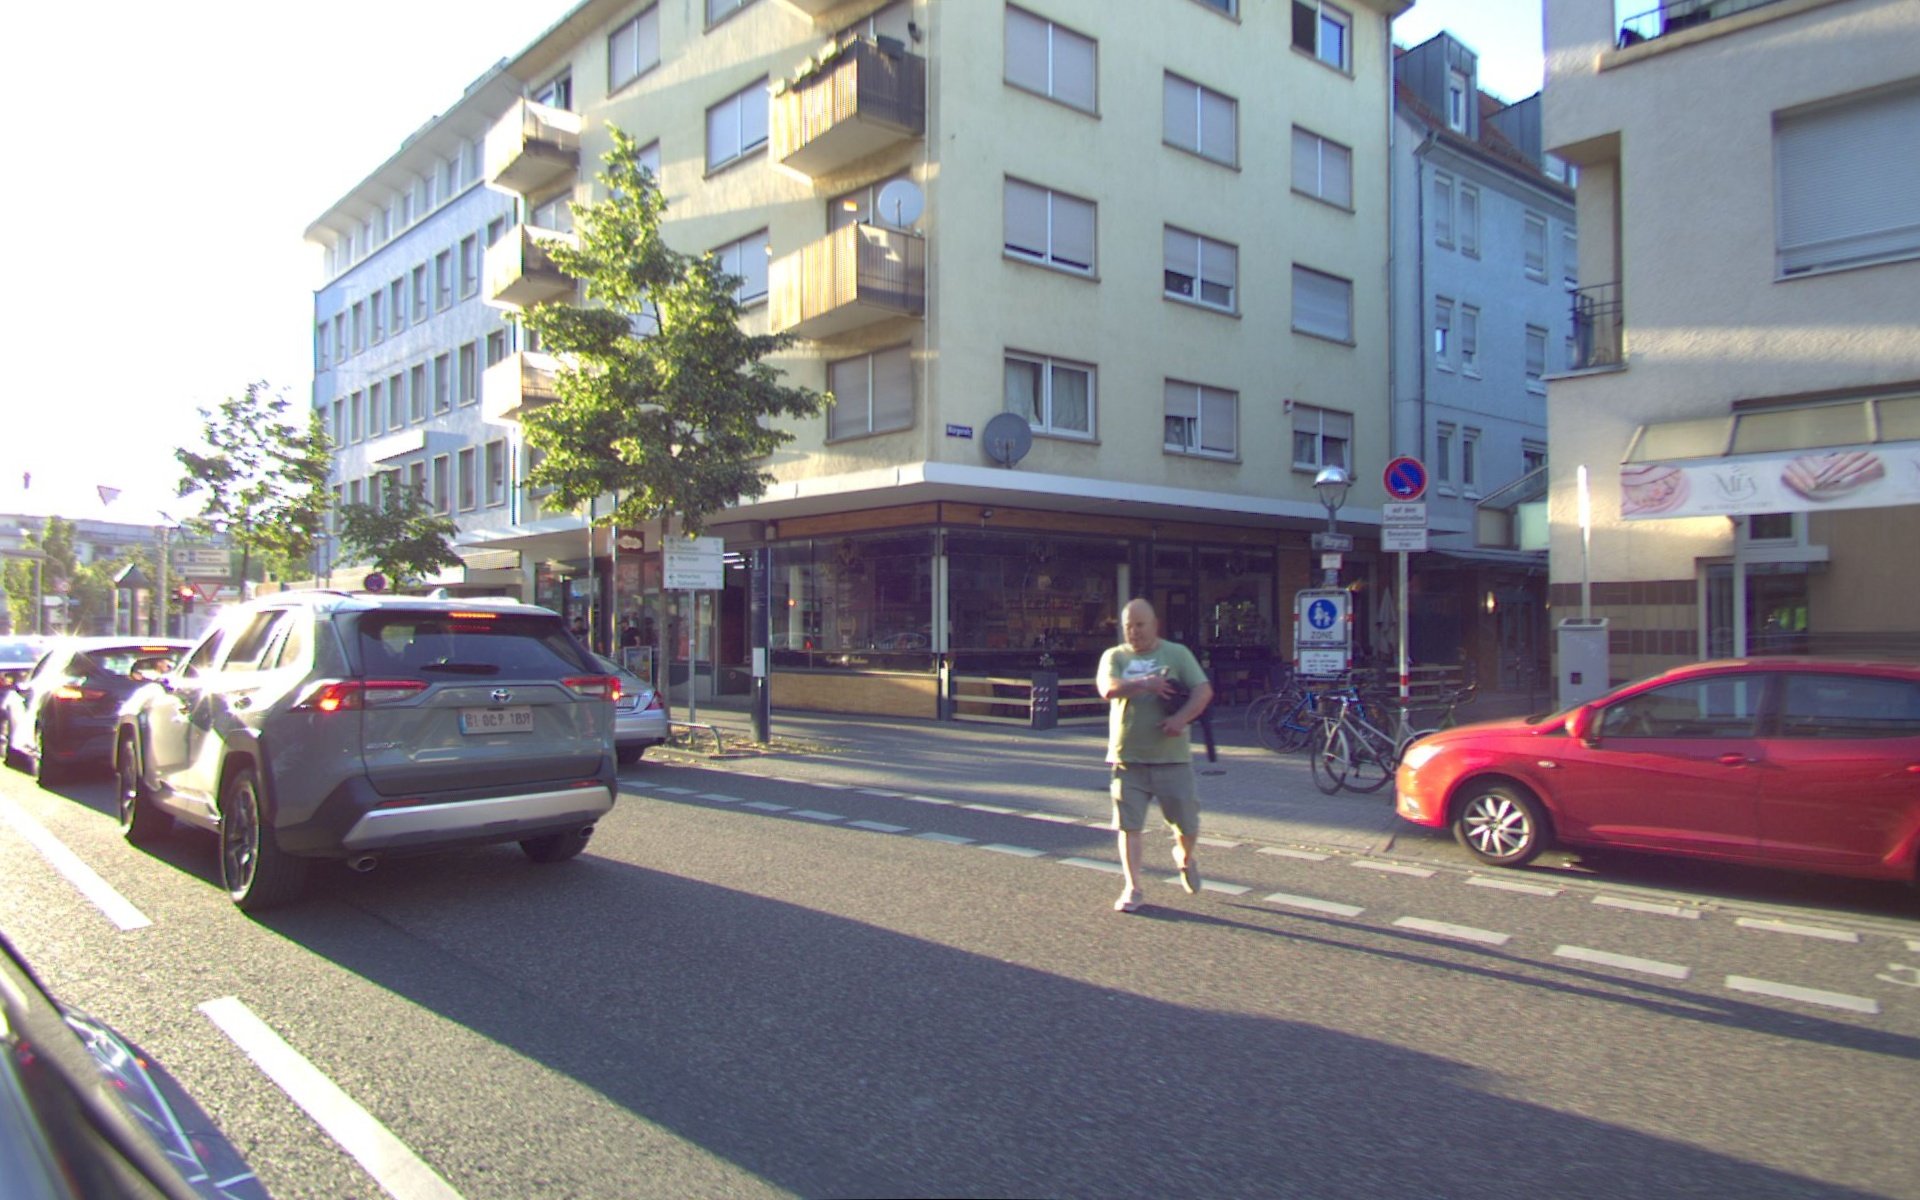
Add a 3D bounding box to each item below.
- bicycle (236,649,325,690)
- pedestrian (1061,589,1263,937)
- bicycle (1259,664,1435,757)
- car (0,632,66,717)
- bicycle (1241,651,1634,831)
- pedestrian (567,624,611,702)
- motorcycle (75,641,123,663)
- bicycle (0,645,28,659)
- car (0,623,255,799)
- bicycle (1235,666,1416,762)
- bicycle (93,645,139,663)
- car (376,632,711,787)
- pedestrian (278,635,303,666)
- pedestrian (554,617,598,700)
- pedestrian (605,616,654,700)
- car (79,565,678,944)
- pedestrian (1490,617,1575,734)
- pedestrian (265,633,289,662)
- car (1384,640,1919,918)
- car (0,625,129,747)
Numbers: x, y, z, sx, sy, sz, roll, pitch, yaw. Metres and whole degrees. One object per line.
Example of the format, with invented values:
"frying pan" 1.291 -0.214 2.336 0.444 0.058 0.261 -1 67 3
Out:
"bicycle" -18.727 1.908 27.918 0.490 0.999 1.991 -1 -1 37
"pedestrian" 1.134 0.816 5.523 0.985 1.689 0.901 0 -4 18
"bicycle" 4.790 1.338 12.639 2.016 0.999 0.484 -1 -1 43
"car" -19.378 1.454 19.944 4.505 1.559 1.938 -3 -3 39
"bicycle" 4.267 1.173 9.300 3.124 1.310 0.949 -1 -1 40
"pedestrian" -8.204 1.378 22.373 0.758 1.689 0.744 -1 -1 -6
"motorcycle" -57.956 3.483 68.139 2.416 1.376 0.780 0 -2 -44
"bicycle" -83.752 4.590 89.133 2.365 1.079 0.673 0 -1 -42
"car" -9.410 1.072 11.142 4.463 1.561 1.705 -2 -3 42
"bicycle" 4.389 1.343 12.266 2.014 0.999 0.485 -1 -1 40
"bicycle" -55.271 3.533 66.284 0.779 1.096 2.152 -1 -3 41
"car" -5.231 1.208 12.427 4.508 1.523 1.972 -1 -4 42
"pedestrian" -40.151 3.005 60.683 0.873 1.798 0.902 -1 -1 17
"pedestrian" -8.822 1.336 23.234 0.758 1.862 0.744 1 -3 -39
"pedestrian" -7.386 1.298 22.620 0.813 1.833 0.732 -3 -4 43
"car" -4.086 0.740 6.722 4.735 1.657 1.921 -1 -3 40
"pedestrian" 8.683 1.107 15.351 0.892 1.689 0.781 0 -1 -35
"pedestrian" -41.235 2.844 61.095 0.896 1.689 0.778 -1 -1 7
"car" 5.060 1.016 6.643 3.882 1.413 1.643 -1 -1 41
"car" -14.553 1.228 15.653 4.614 1.657 1.925 -1 -3 42
